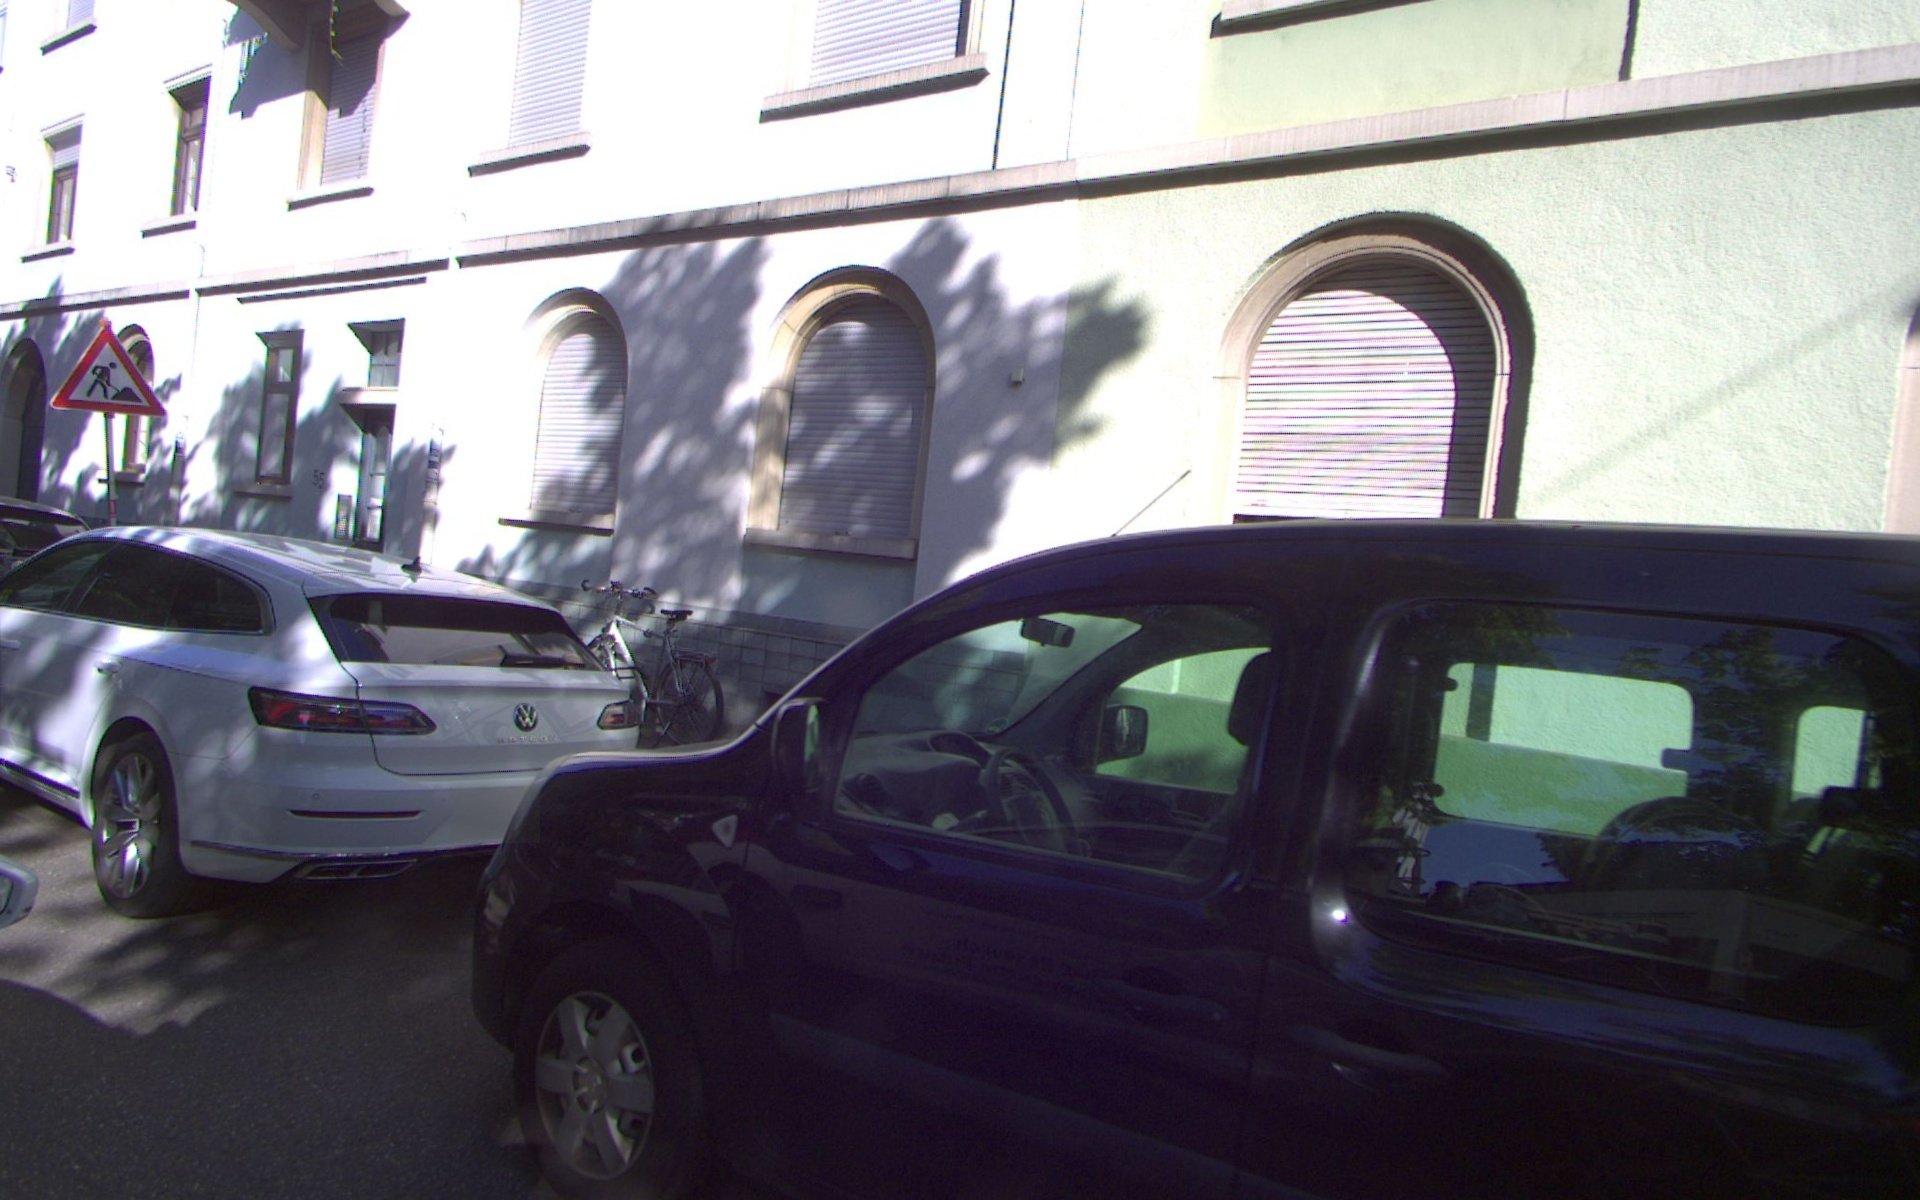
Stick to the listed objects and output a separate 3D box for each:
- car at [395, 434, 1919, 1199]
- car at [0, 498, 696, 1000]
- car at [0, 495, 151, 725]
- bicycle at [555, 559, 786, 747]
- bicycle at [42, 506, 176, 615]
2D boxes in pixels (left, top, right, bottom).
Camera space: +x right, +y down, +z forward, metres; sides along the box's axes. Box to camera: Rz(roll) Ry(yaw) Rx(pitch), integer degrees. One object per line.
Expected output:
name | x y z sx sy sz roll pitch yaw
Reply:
car | 0.728 0.717 2.429 3.922 1.817 1.773 7 1 30
car | -3.586 0.357 4.946 4.490 1.438 1.609 7 1 30
car | -8.013 -0.117 7.581 3.899 1.511 1.601 7 1 30
bicycle | -2.294 0.372 7.844 1.950 1.196 0.395 7 1 31
bicycle | -10.912 -0.511 12.890 1.814 1.201 0.407 7 1 21
